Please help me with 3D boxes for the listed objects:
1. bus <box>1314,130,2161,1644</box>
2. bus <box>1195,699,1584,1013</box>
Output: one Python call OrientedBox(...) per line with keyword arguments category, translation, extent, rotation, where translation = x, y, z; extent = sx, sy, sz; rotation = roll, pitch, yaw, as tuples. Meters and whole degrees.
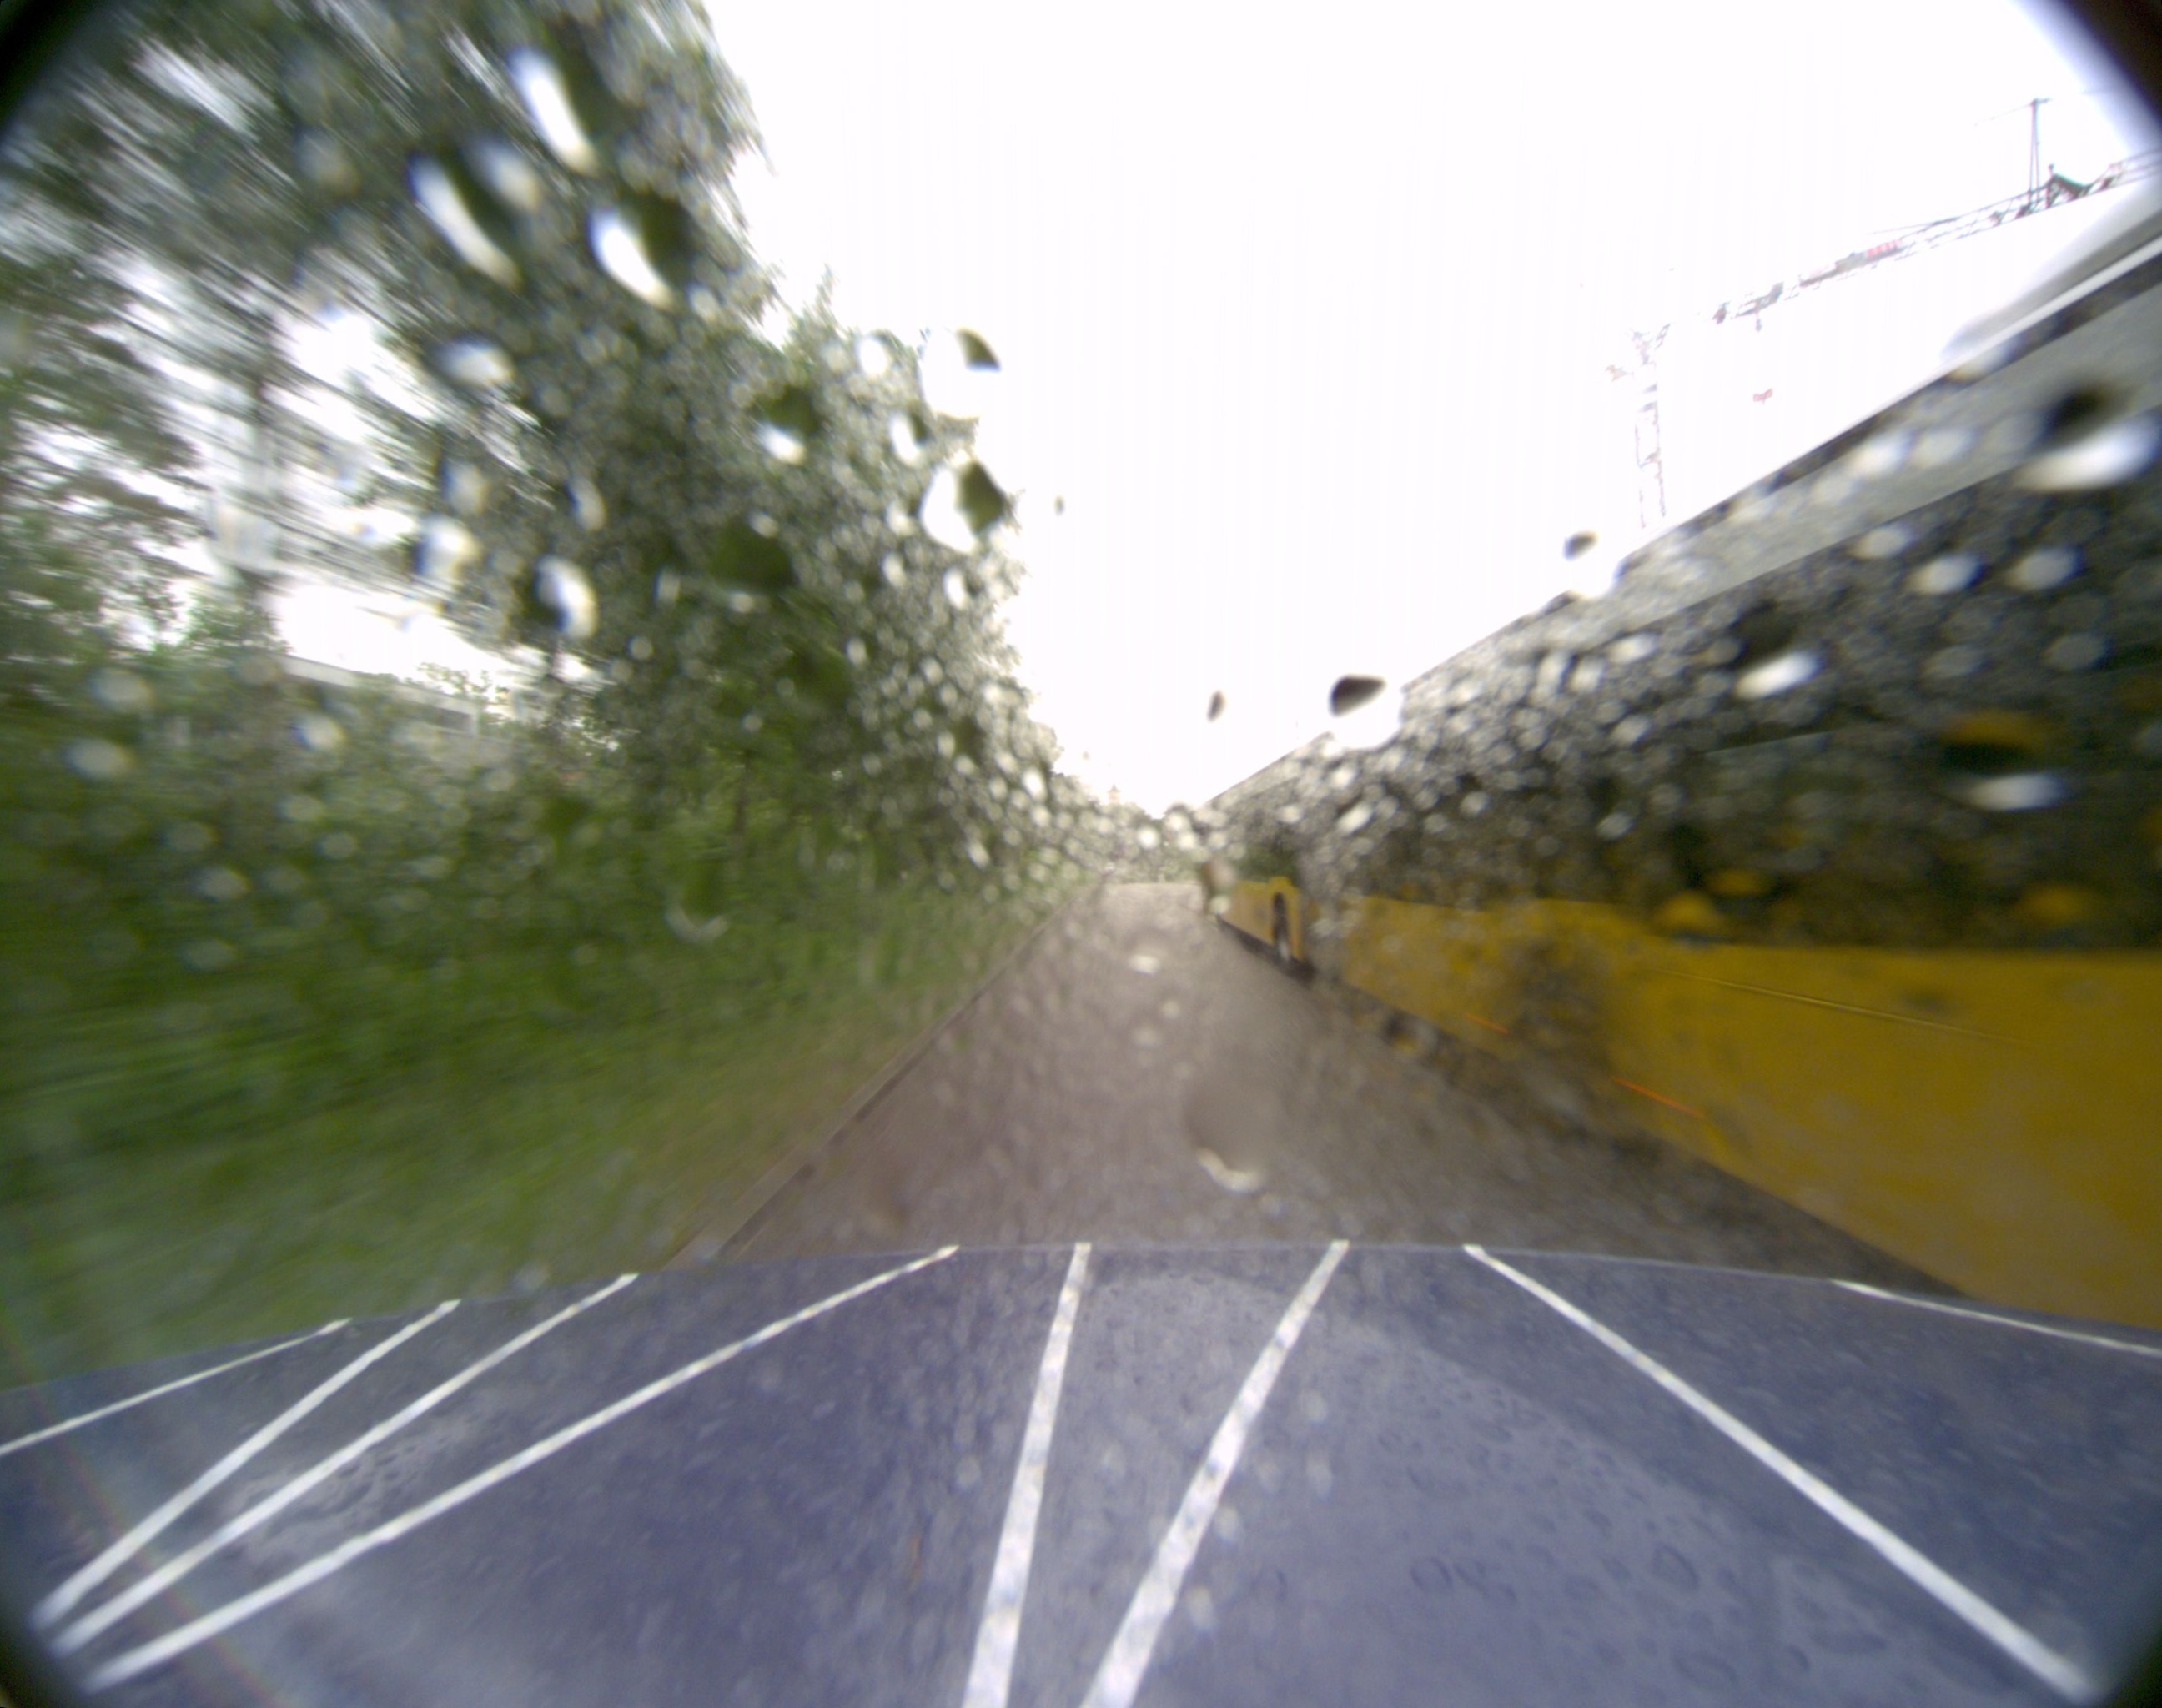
OrientedBox(category="bus", translation=(3.529, 0.044, 3.564), extent=(2.646, 3.015, 7.666), rotation=(-2, 0, 2))
OrientedBox(category="bus", translation=(3.846, 0.082, 12.942), extent=(2.646, 3.049, 10.858), rotation=(-1, -1, 3))
